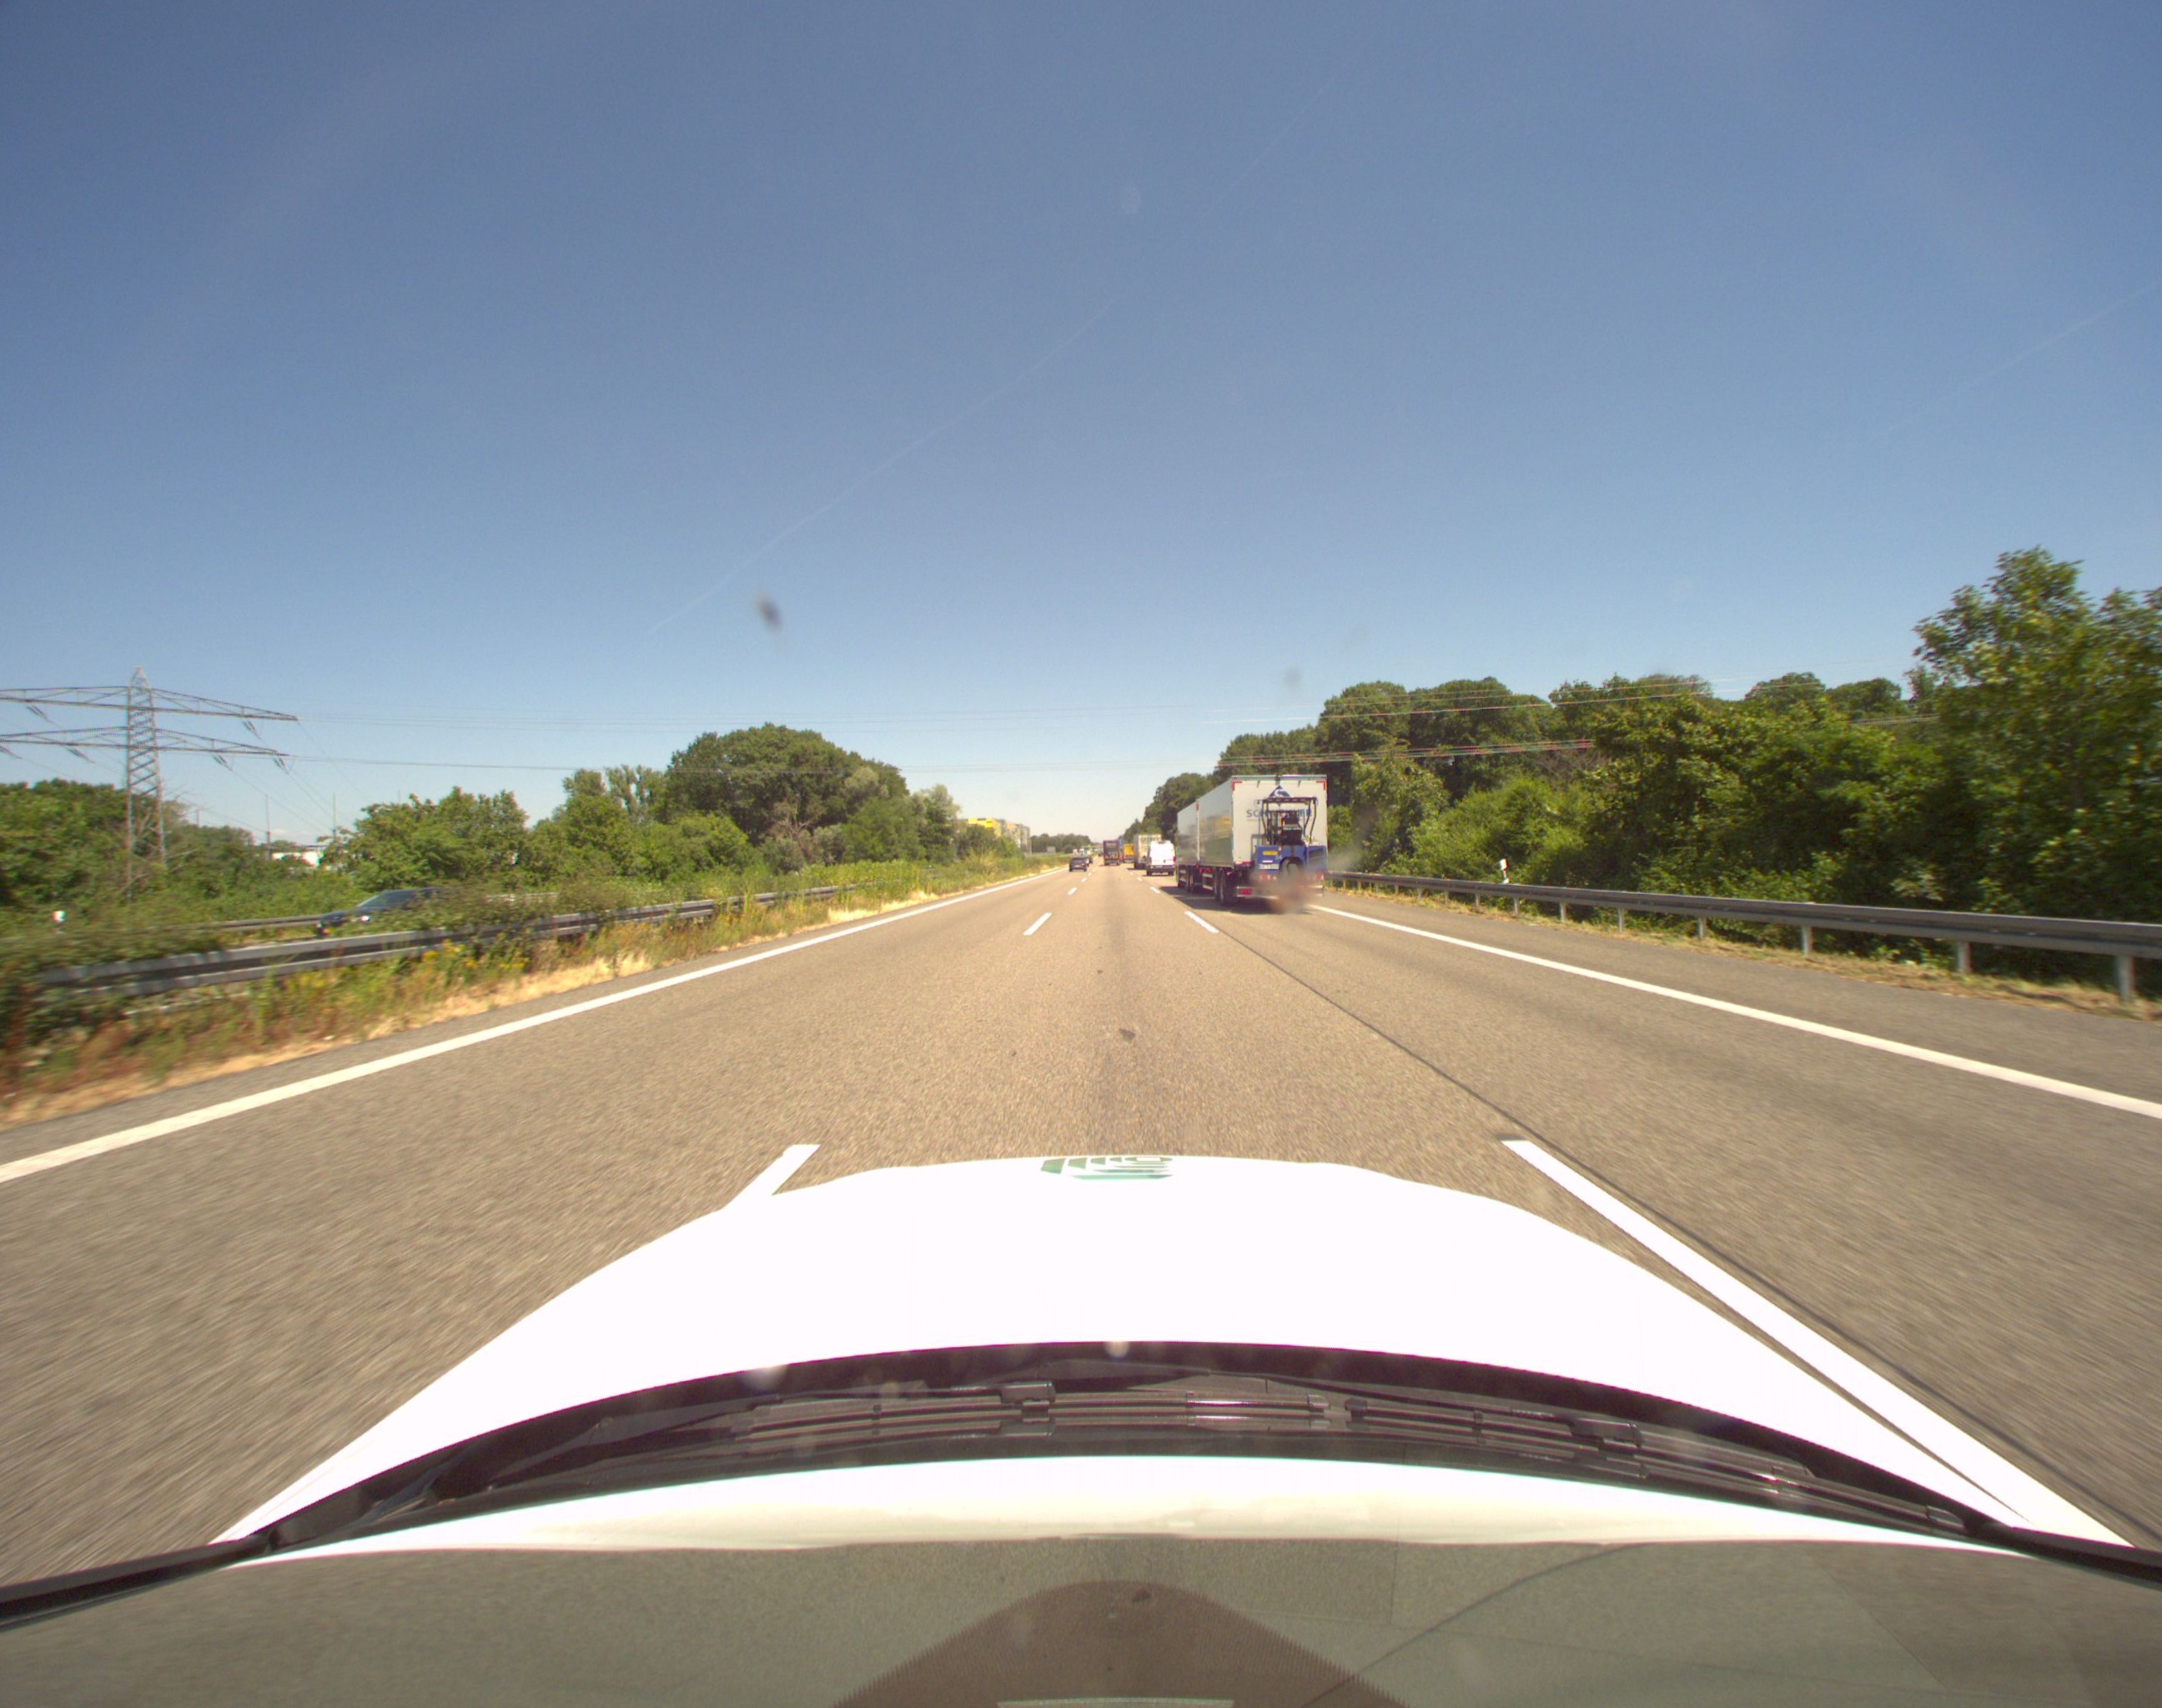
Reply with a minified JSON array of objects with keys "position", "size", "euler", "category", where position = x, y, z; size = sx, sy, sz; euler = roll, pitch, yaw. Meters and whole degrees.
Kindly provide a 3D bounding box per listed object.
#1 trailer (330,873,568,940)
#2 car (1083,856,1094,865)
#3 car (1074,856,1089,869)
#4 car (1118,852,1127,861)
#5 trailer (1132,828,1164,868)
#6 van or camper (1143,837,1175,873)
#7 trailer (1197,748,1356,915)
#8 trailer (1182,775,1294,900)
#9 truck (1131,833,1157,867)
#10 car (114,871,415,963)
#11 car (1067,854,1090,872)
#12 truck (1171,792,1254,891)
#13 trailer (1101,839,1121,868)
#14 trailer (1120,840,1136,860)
[{"position":[-20.102,1.577,26.512],"size":[2.479,1.684,6.492],"euler":[-2,0,2],"category":"trailer"},{"position":[1.529,1.188,159.490],"size":[1.934,1.706,4.001],"euler":[-2,0,2],"category":"car"},{"position":[0.081,1.265,120.261],"size":[1.986,1.728,4.131],"euler":[-1,0,1],"category":"car"},{"position":[9.794,0.609,192.457],"size":[1.986,2.013,4.001],"euler":[-2,0,2],"category":"car"},{"position":[7.720,-0.626,95.220],"size":[2.982,4.289,13.423],"euler":[-1,0,2],"category":"trailer"},{"position":[6.048,0.090,63.895],"size":[2.015,2.637,6.489],"euler":[-1,0,2],"category":"van or camper"},{"position":[5.389,-0.546,24.070],"size":[2.934,4.063,8.131],"euler":[-1,0,2],"category":"trailer"},{"position":[5.553,-0.527,30.123],"size":[2.909,4.041,7.319],"euler":[-1,0,2],"category":"trailer"},{"position":[7.917,-0.531,102.768],"size":[2.991,4.124,5.255],"euler":[-1,0,2],"category":"truck"},{"position":[-20.272,1.466,20.684],"size":[2.444,1.872,5.030],"euler":[-2,0,2],"category":"car"},{"position":[-0.229,0.893,87.190],"size":[2.208,1.790,5.395],"euler":[-2,0,2],"category":"car"},{"position":[5.751,-0.495,36.767],"size":[2.878,4.030,6.873],"euler":[-1,0,2],"category":"truck"},{"position":[4.826,-0.090,133.707],"size":[3.095,4.506,14.899],"euler":[-1,0,1],"category":"trailer"},{"position":[9.577,-0.810,167.740],"size":[2.824,3.953,11.688],"euler":[-1,0,2],"category":"trailer"}]
